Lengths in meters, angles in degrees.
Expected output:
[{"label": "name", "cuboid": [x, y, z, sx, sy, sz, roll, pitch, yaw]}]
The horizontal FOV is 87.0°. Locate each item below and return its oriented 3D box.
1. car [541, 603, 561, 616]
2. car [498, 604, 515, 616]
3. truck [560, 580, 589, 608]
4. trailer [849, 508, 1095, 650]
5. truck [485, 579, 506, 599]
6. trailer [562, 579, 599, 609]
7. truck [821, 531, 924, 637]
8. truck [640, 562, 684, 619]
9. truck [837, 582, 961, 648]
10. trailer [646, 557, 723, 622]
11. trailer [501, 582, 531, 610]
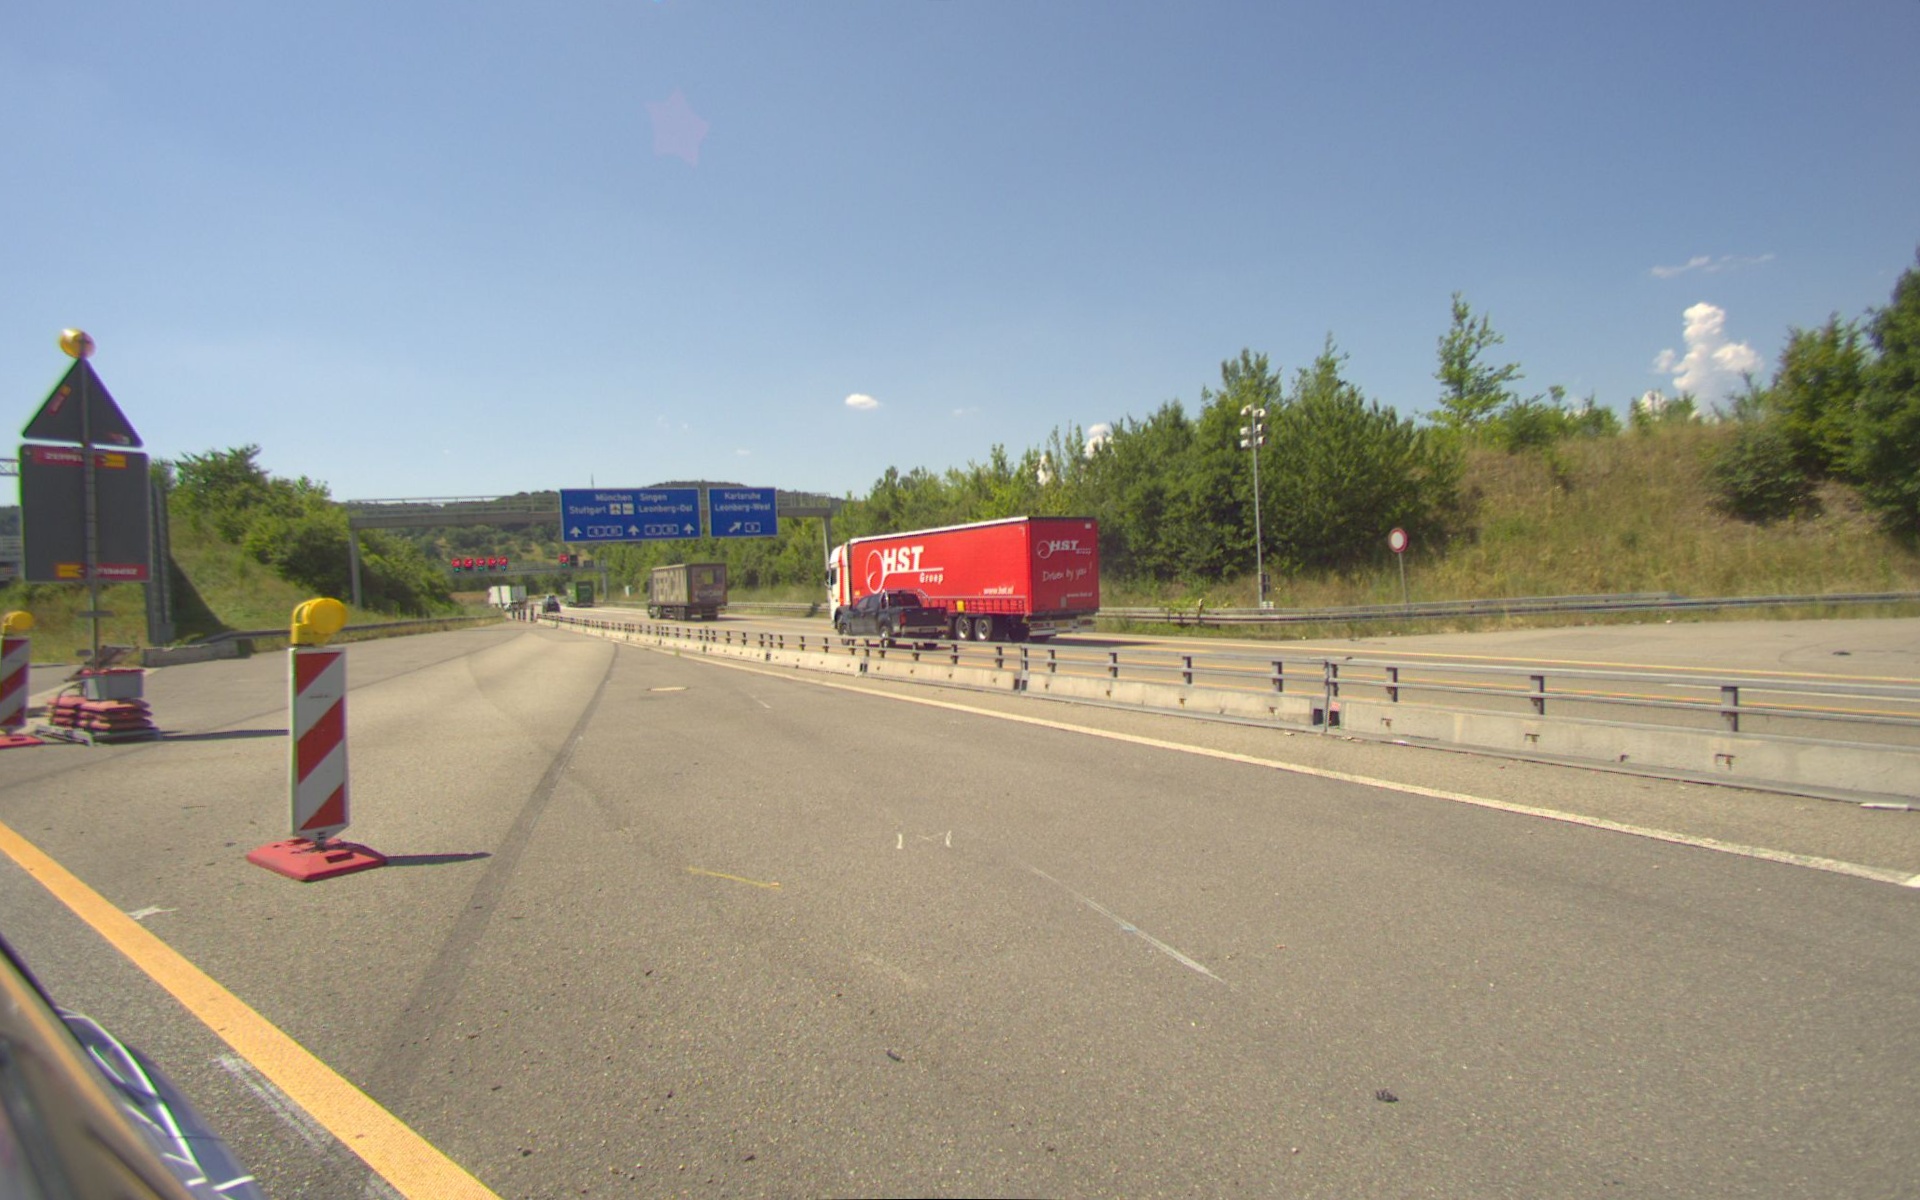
[{"label": "car", "cuboid": [-51.233, 1.153, 126.812, 1.692, 1.502, 3.699, -3, 1, -32]}, {"label": "car", "cuboid": [-68.741, 1.473, 153.341, 1.692, 1.635, 4.183, -4, 2, -31]}, {"label": "truck", "cuboid": [-63.566, -1.061, 166.874, 3.497, 4.301, 5.798, -4, 2, -28]}, {"label": "trailer", "cuboid": [-0.219, -0.658, 35.924, 2.305, 4.133, 13.303, -3, 1, -29]}, {"label": "truck", "cuboid": [-109.462, -2.672, 238.372, 3.497, 4.301, 13.954, -4, 3, -28]}, {"label": "trailer", "cuboid": [-60.474, -0.987, 160.957, 3.497, 4.301, 13.954, -4, 3, -28]}, {"label": "truck", "cuboid": [-3.753, -0.668, 42.349, 2.302, 4.138, 5.033, -3, 1, -29]}, {"label": "truck", "cuboid": [-24.022, -0.760, 81.442, 2.397, 4.301, 4.854, -3, 1, -27]}, {"label": "truck", "cuboid": [-2.082, 0.486, 32.840, 1.966, 1.887, 4.775, -3, 0, -31]}, {"label": "trailer", "cuboid": [-20.690, -0.758, 75.106, 2.402, 4.328, 13.854, -3, 1, -28]}, {"label": "trailer", "cuboid": [-75.941, -0.722, 172.909, 3.497, 4.301, 13.954, -4, 3, -28]}]
